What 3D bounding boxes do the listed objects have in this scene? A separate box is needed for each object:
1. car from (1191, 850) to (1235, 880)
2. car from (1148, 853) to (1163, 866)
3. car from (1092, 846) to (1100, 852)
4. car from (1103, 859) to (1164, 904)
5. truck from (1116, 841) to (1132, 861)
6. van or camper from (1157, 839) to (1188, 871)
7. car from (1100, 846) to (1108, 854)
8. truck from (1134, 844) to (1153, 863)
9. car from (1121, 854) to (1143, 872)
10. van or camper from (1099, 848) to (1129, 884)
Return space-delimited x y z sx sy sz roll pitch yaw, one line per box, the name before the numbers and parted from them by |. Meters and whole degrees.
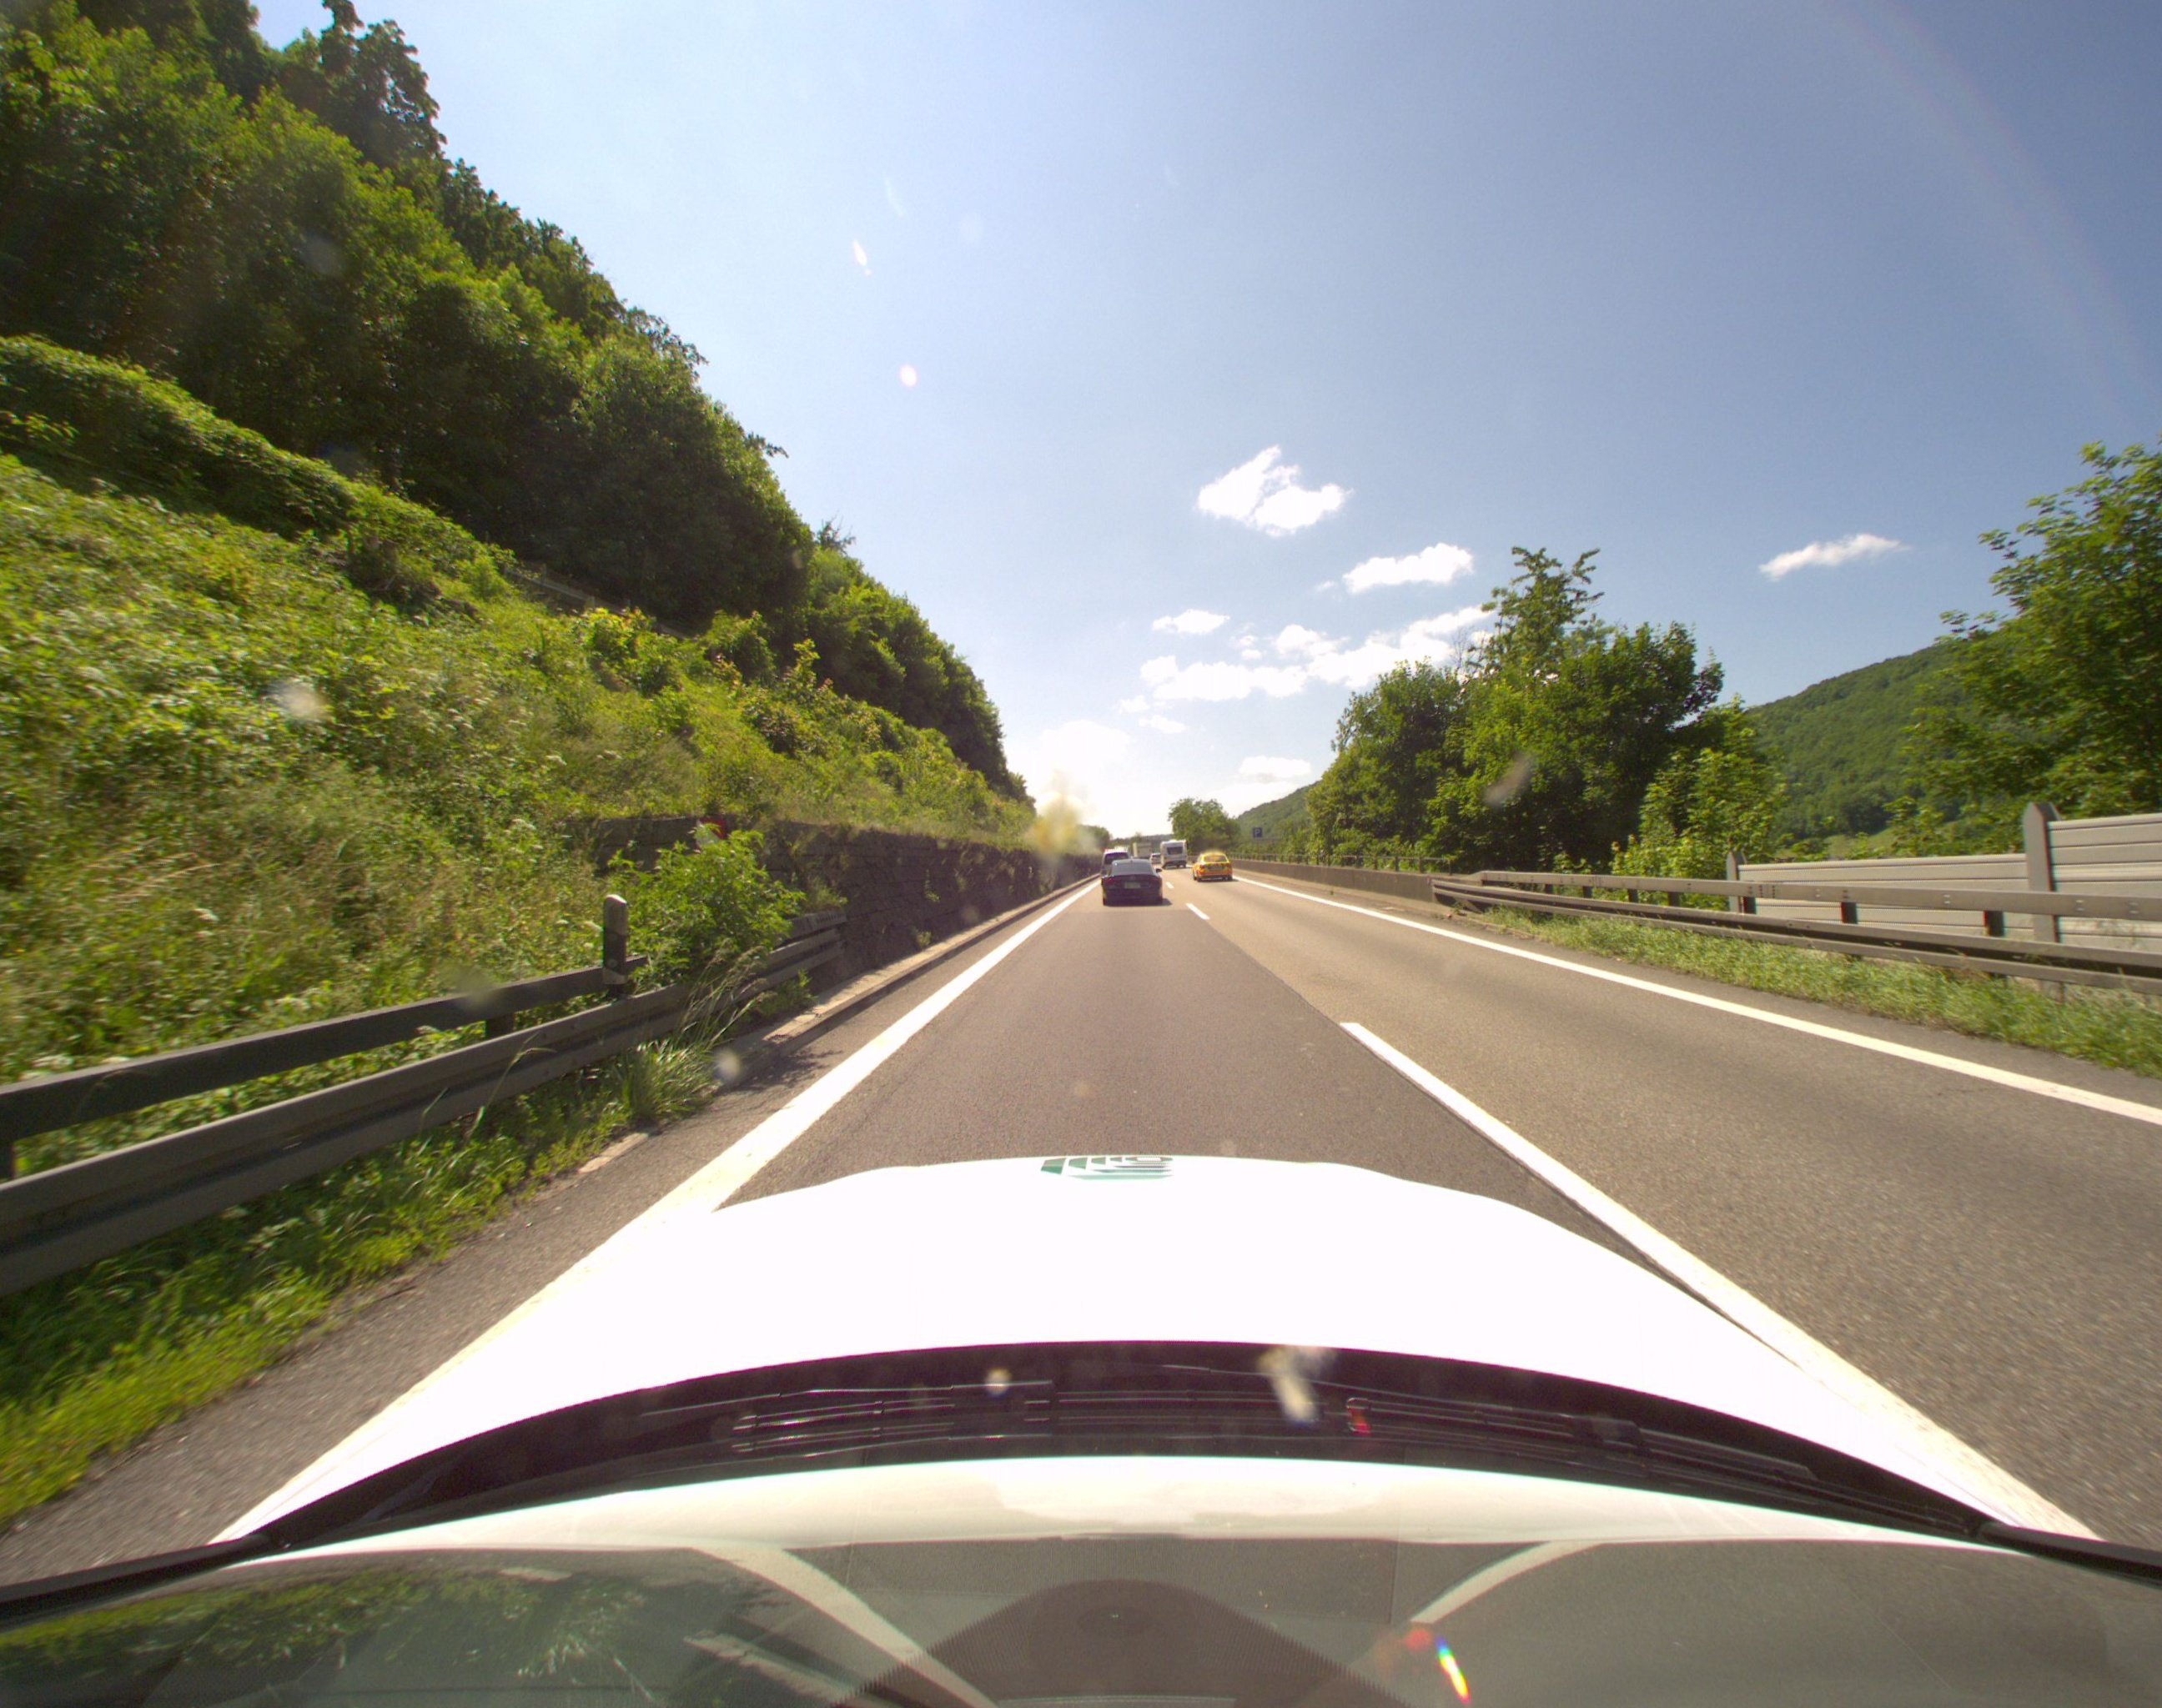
car | 6.917 0.607 42.892 1.855 1.488 4.002 0 -1 3
car | 10.021 0.683 109.407 1.833 1.717 4.003 -1 0 3
car | 4.552 -1.518 249.900 1.990 2.014 3.993 0 0 -5
car | 1.662 0.870 26.586 1.831 1.349 4.001 0 -1 2
truck | 9.007 -0.564 171.546 2.726 4.096 7.471 -1 0 -3
van or camper | 8.775 0.131 78.365 2.447 2.918 6.126 0 -1 1
car | 6.294 -1.108 223.717 1.990 2.014 3.993 0 0 -5
truck | 10.554 -0.095 138.751 2.831 3.131 7.481 -1 0 1
car | 4.753 0.842 76.341 1.767 1.637 4.000 -1 0 1
van or camper | 1.733 0.667 43.500 1.387 1.816 3.998 0 -1 -1
